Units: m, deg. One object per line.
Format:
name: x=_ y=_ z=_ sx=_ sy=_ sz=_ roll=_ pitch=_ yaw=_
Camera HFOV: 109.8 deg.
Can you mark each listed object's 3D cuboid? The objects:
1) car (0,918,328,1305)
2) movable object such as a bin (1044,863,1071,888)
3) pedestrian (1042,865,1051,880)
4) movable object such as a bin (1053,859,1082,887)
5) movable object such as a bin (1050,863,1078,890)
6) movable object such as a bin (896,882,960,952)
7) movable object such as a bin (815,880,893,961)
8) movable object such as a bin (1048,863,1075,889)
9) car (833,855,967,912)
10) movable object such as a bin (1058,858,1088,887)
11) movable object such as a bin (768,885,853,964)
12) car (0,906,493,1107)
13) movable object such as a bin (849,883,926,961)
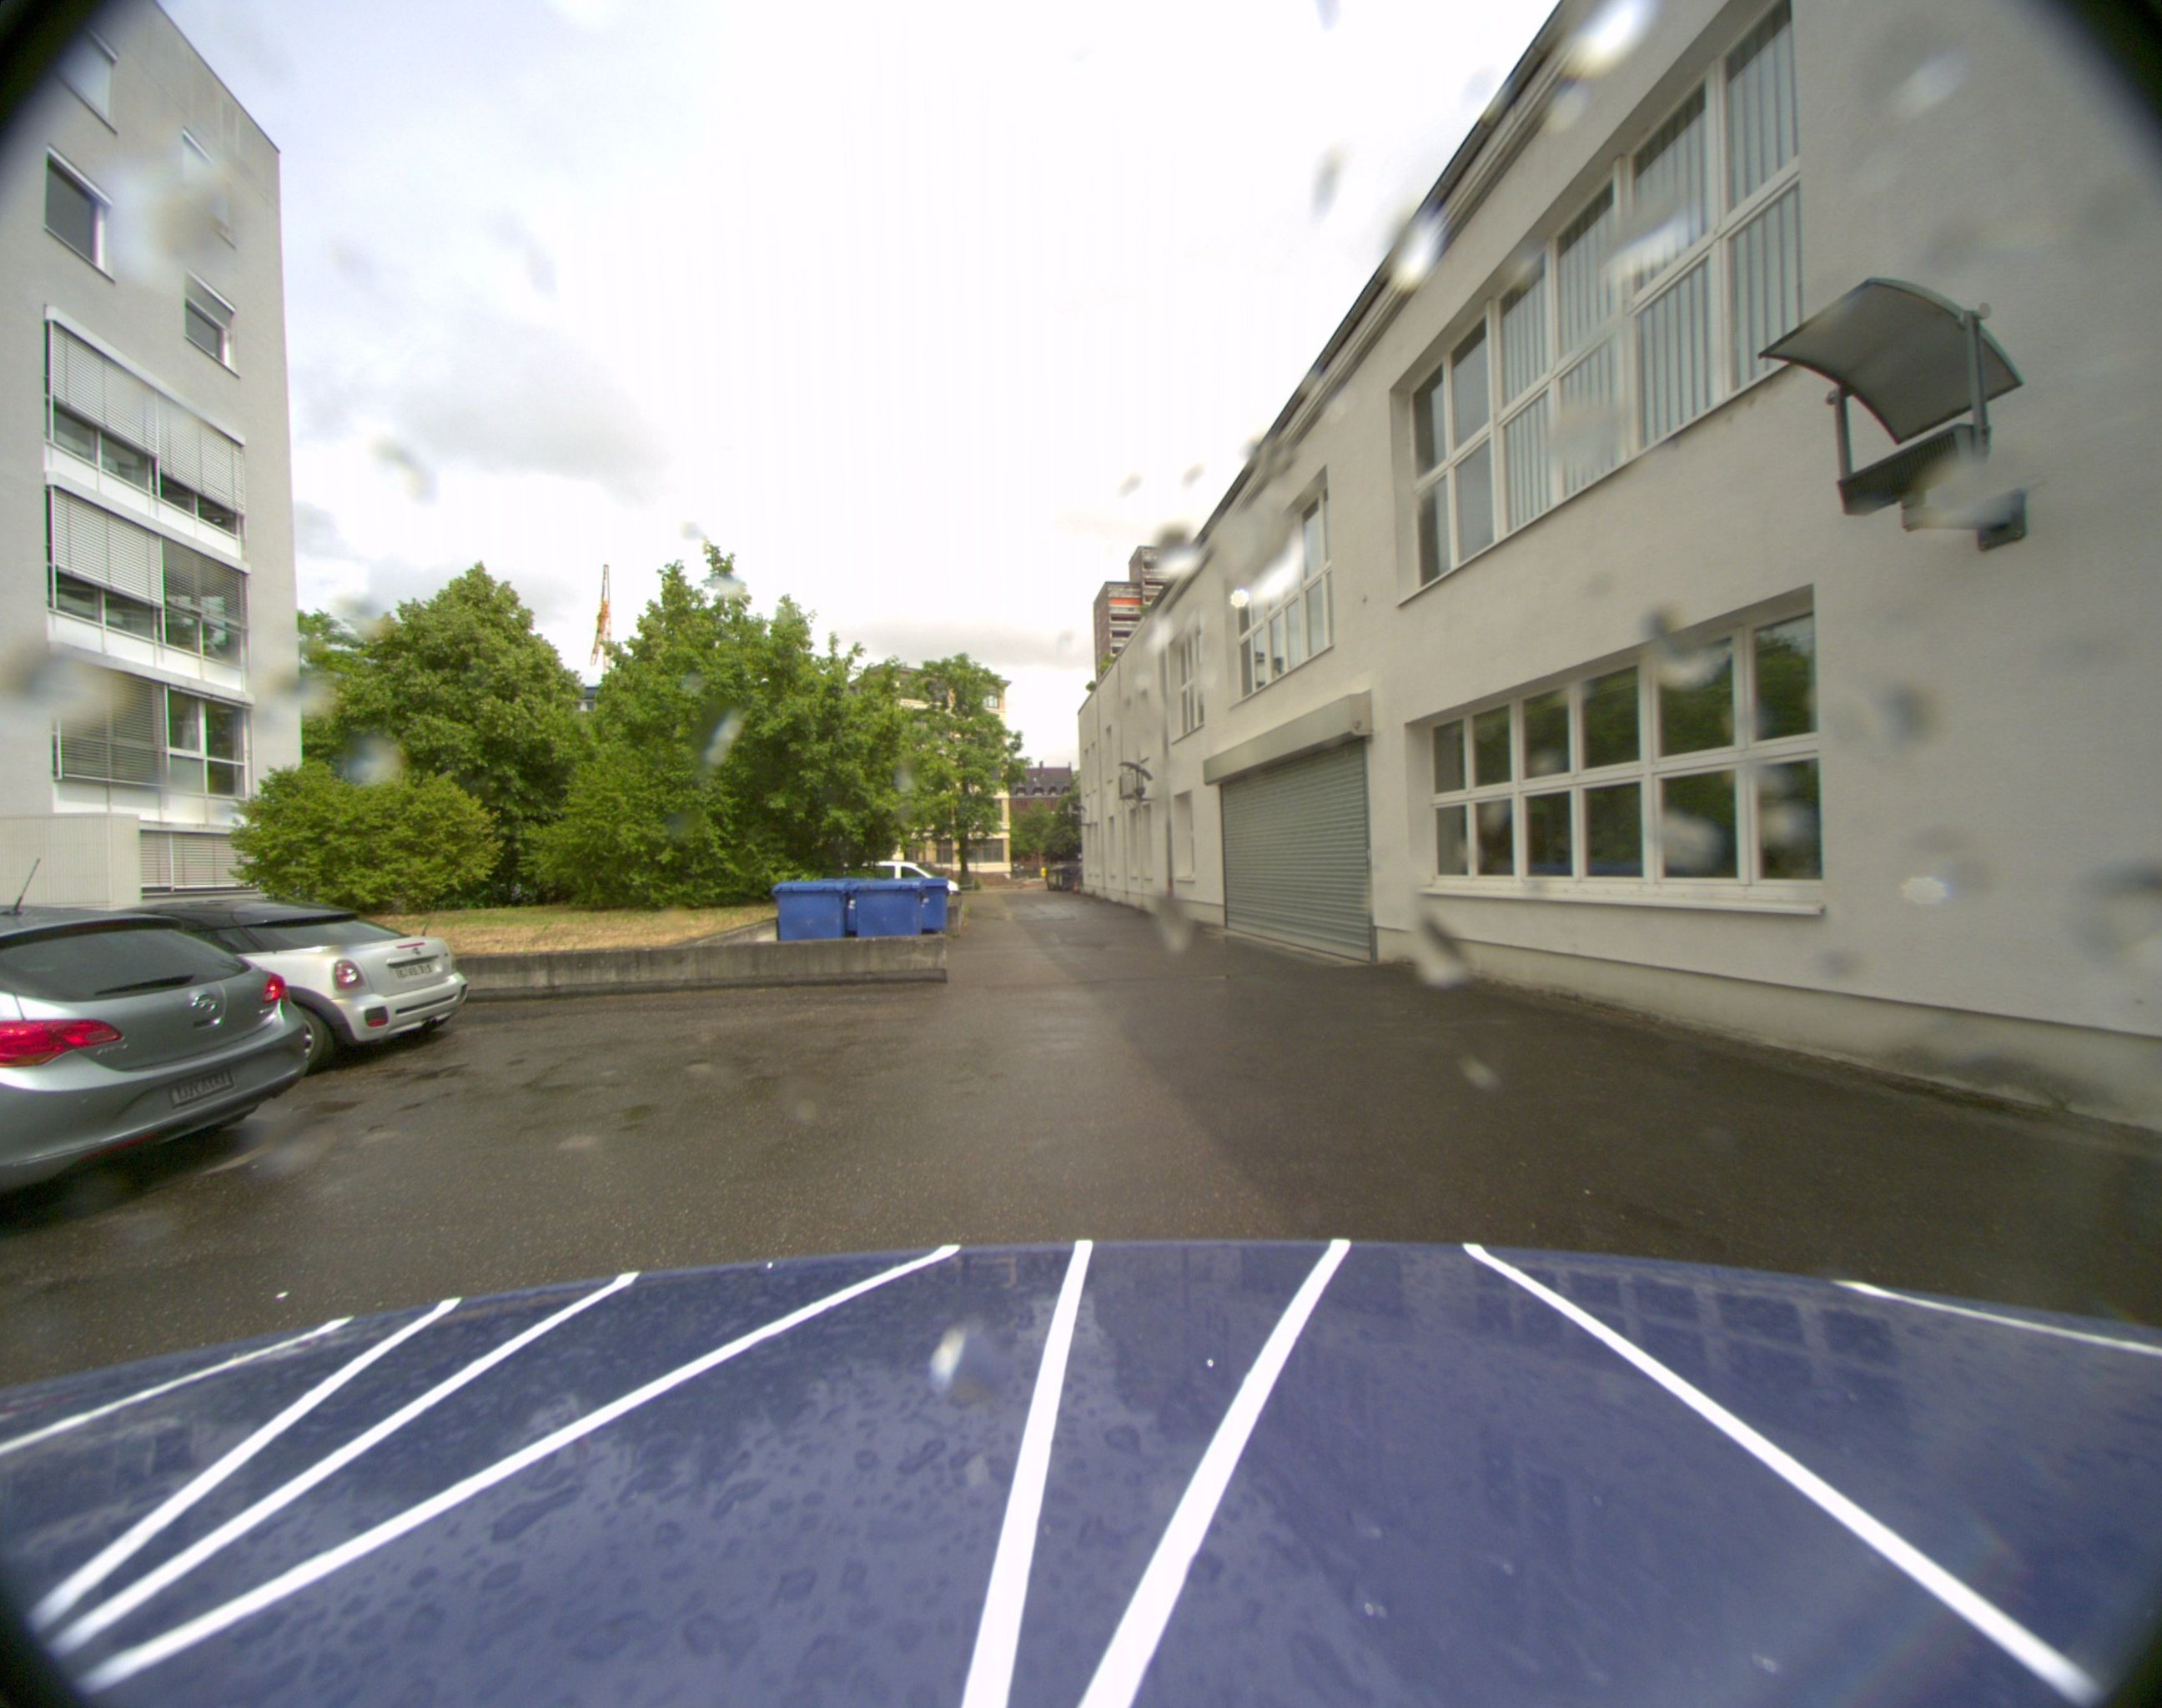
car: x=-6.566 y=1.162 z=3.509 sx=4.094 sy=1.449 sz=1.666 roll=-1 pitch=1 yaw=-12
movable object such as a bin: x=-1.465 y=1.323 z=47.182 sx=1.413 sy=1.462 sz=1.560 roll=-3 pitch=-1 yaw=-9
pedestrian: x=-3.478 y=1.853 z=76.367 sx=0.623 sy=1.499 sz=0.650 roll=-2 pitch=-1 yaw=41
movable object such as a bin: x=-0.773 y=1.075 z=42.708 sx=1.364 sy=1.462 sz=1.365 roll=-3 pitch=-1 yaw=-9
movable object such as a bin: x=-0.991 y=1.290 z=44.171 sx=1.364 sy=1.462 sz=1.351 roll=-3 pitch=-1 yaw=-9
movable object such as a bin: x=-3.135 y=1.270 z=15.728 sx=1.178 sy=1.309 sz=1.055 roll=-3 pitch=-1 yaw=-9
movable object such as a bin: x=-4.533 y=1.308 z=15.254 sx=1.279 sy=1.474 sz=1.101 roll=-3 pitch=-1 yaw=-9
movable object such as a bin: x=-1.198 y=1.309 z=45.524 sx=1.364 sy=1.462 sz=1.464 roll=-3 pitch=-1 yaw=-9
car: x=-7.205 y=1.144 z=30.727 sx=4.951 sy=2.002 sz=1.999 roll=-2 pitch=0 yaw=-5
movable object such as a bin: x=-0.442 y=1.024 z=41.020 sx=1.364 sy=1.462 sz=1.365 roll=-3 pitch=-1 yaw=-9
movable object such as a bin: x=-4.811 y=1.226 z=13.627 sx=1.233 sy=1.309 sz=1.055 roll=-1 pitch=-1 yaw=-9
car: x=-7.787 y=1.190 z=6.492 sx=4.000 sy=1.346 sz=1.789 roll=0 pitch=0 yaw=-9
movable object such as a bin: x=-3.487 y=1.209 z=13.844 sx=1.233 sy=1.309 sz=1.055 roll=-1 pitch=-1 yaw=-9
